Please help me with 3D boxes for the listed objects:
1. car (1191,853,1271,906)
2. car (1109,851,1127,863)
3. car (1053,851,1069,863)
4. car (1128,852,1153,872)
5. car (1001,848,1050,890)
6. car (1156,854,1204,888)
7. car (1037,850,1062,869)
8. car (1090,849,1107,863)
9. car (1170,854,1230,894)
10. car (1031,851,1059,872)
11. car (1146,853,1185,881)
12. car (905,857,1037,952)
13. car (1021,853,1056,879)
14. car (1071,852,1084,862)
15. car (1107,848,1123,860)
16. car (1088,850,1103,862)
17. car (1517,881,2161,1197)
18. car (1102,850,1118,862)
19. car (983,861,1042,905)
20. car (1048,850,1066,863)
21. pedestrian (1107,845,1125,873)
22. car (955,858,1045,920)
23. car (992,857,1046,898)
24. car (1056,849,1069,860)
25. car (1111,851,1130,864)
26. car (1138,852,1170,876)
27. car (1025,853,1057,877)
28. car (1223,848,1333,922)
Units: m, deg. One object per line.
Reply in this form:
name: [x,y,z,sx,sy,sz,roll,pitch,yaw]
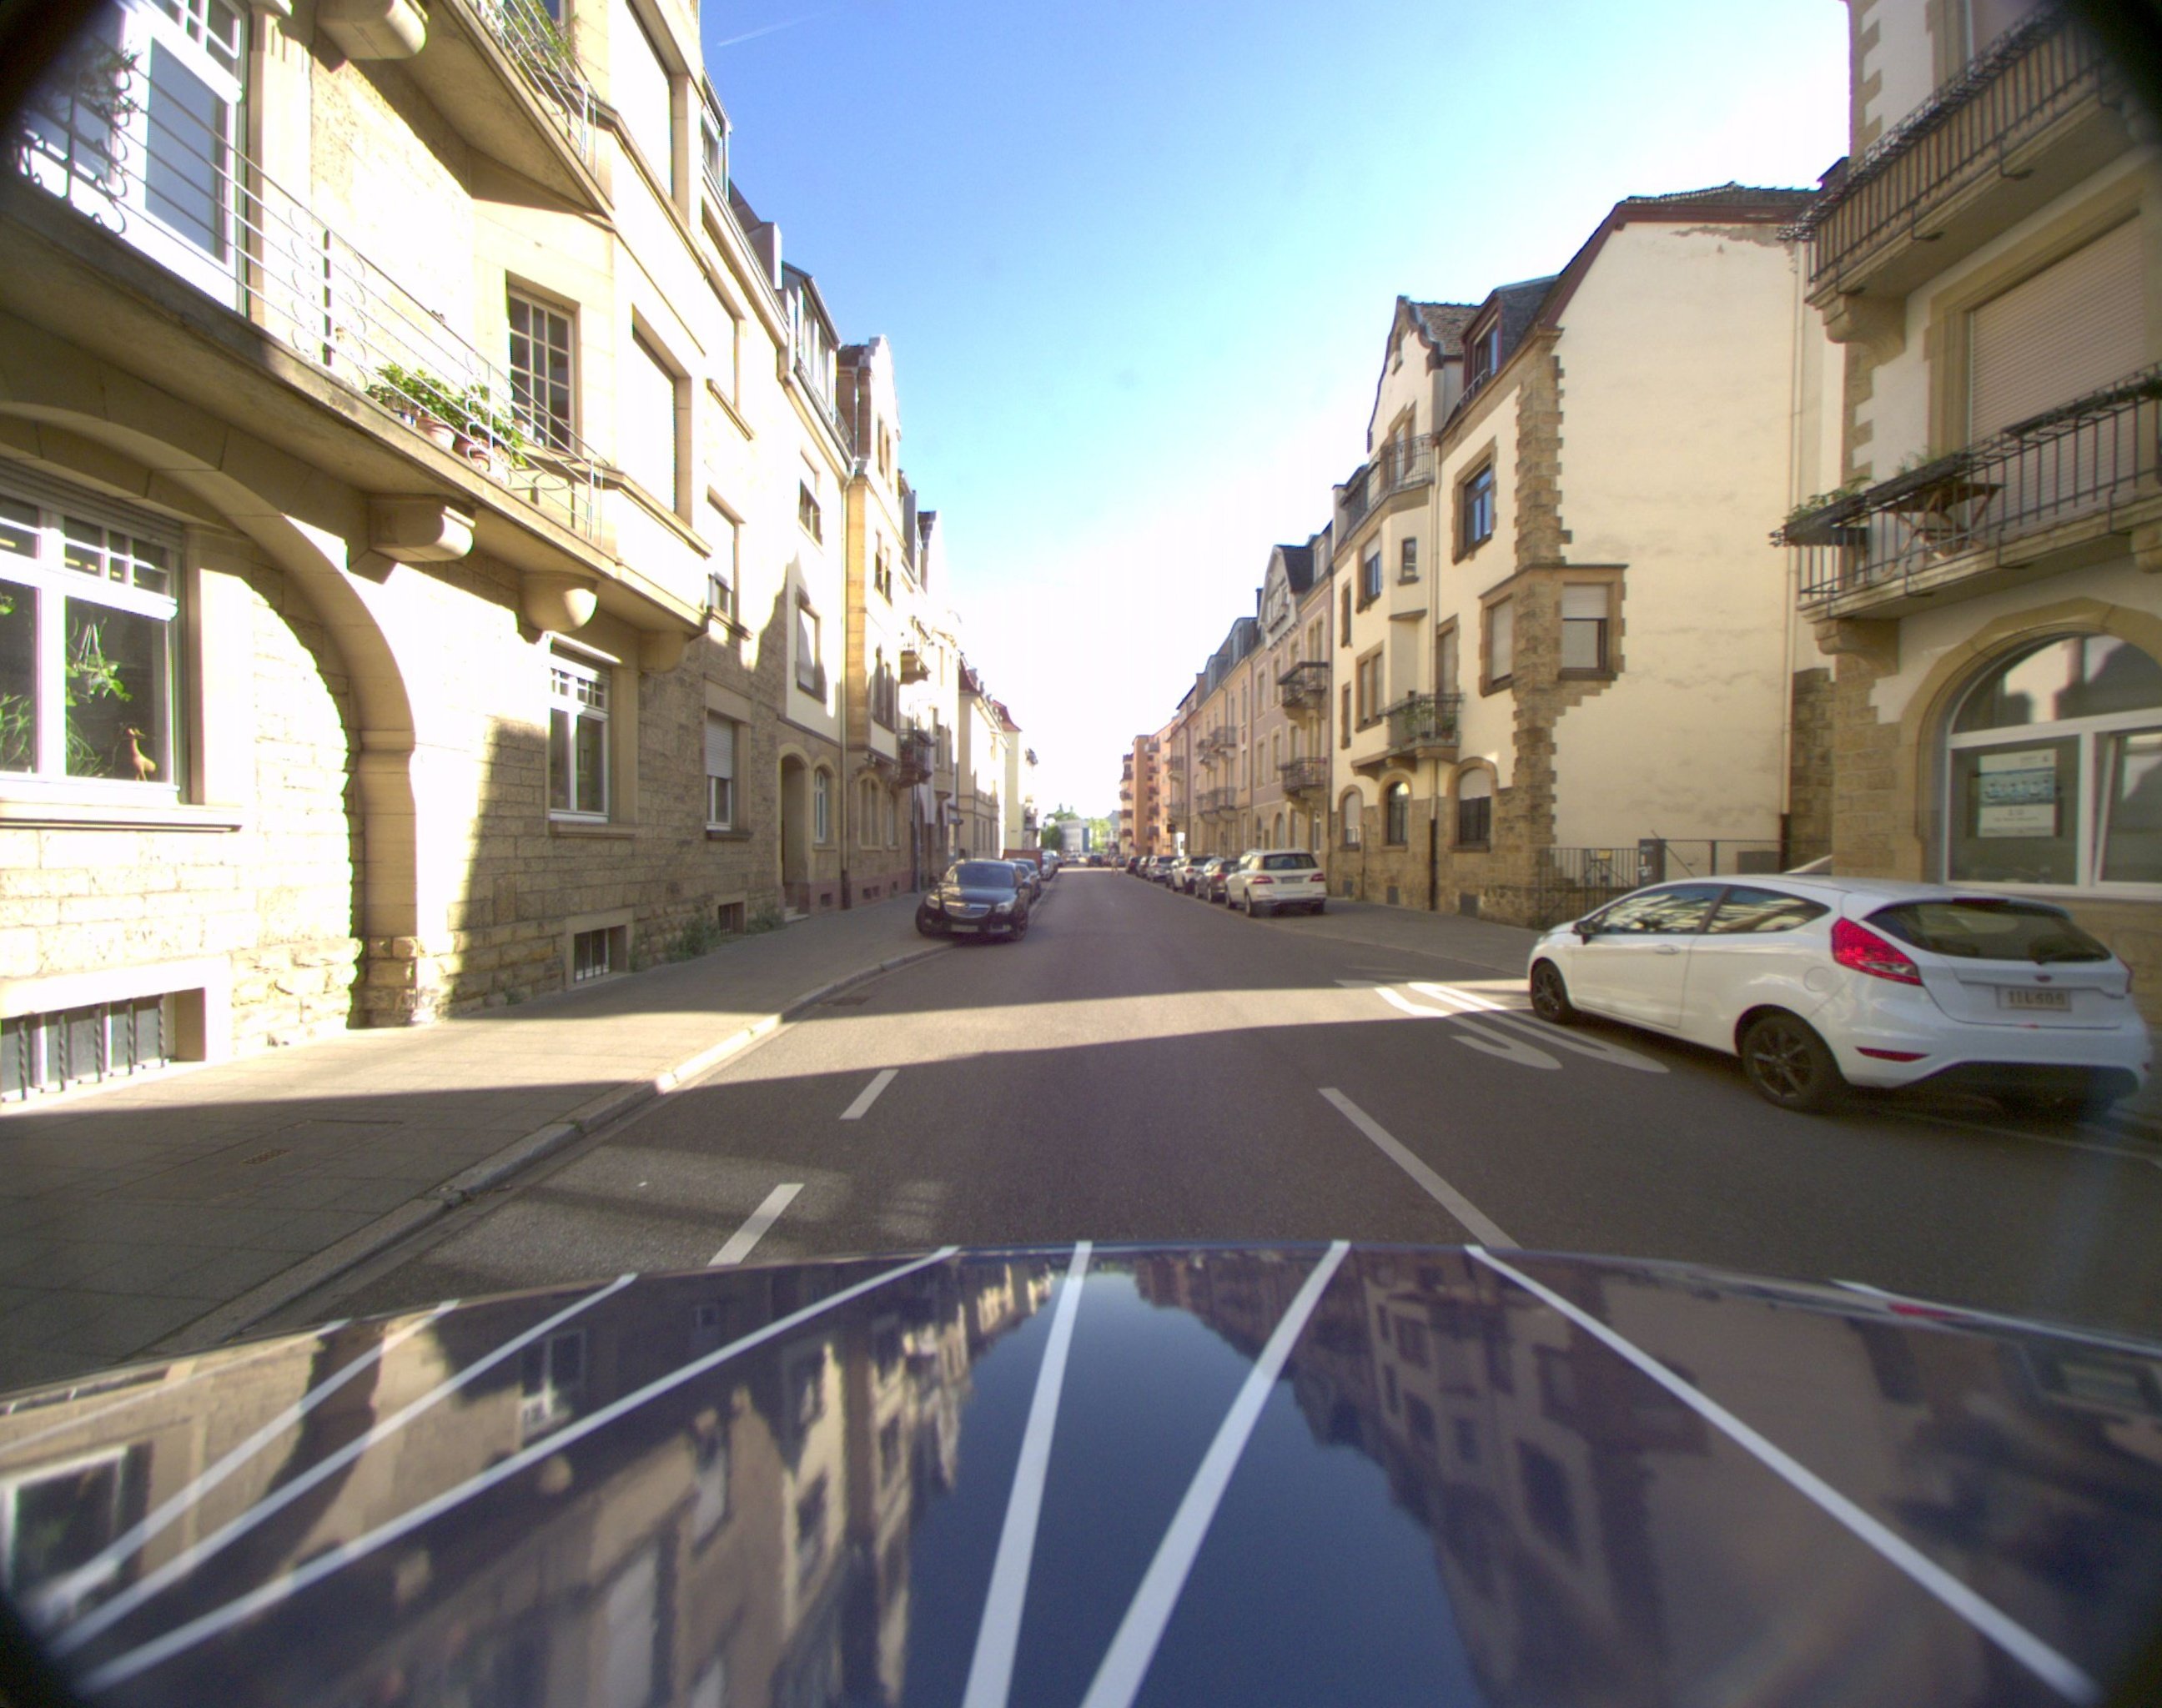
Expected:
car: [5.130,0.816,26.538,1.890,1.500,4.320,-4,1,1]
car: [4.637,0.379,96.199,2.005,1.500,4.320,1,1,-1]
car: [-2.568,0.418,99.946,2.005,1.500,4.320,1,1,-1]
car: [4.904,0.632,62.966,1.793,1.500,4.320,-2,1,1]
car: [-2.551,0.645,35.804,2.005,1.828,4.320,1,1,-1]
car: [4.864,0.811,37.799,1.857,1.491,4.318,-2,1,1]
car: [-2.661,0.443,64.493,2.005,1.500,4.320,1,1,-1]
car: [1.788,0.215,79.979,1.656,1.449,3.642,0,1,-1]
car: [4.992,0.790,32.359,1.890,1.500,4.320,-2,1,1]
car: [-2.734,0.528,58.660,2.005,1.500,4.320,1,1,-1]
car: [5.030,0.727,45.825,1.890,1.500,4.320,-2,1,1]
car: [-2.031,0.879,15.232,2.024,1.500,4.111,2,1,-1]
car: [-2.643,0.711,47.861,2.005,1.500,4.320,1,1,-1]
car: [-0.545,0.439,124.624,2.005,1.500,4.320,1,1,-1]
car: [4.533,-0.010,101.951,2.005,1.500,4.320,1,1,-1]
car: [1.864,0.219,98.780,1.702,1.474,3.533,1,0,-1]
car: [5.117,1.013,5.692,1.656,1.449,3.643,2,0,2]
car: [4.128,0.274,107.244,2.005,1.500,4.320,1,1,-1]
car: [-2.226,0.922,25.372,1.661,1.272,3.729,1,1,-1]
car: [-2.830,0.255,88.973,2.005,1.500,4.320,1,1,-1]
pedestrian: [2.590,0.362,56.429,1.066,2.002,0.952,-2,1,-7]
car: [-2.090,0.870,20.793,2.005,1.499,4.321,1,0,-1]
car: [-2.377,0.886,30.114,1.824,1.415,4.320,1,1,-1]
car: [-2.924,0.053,123.330,2.005,1.722,4.320,1,1,-1]
car: [4.687,0.396,91.385,2.005,1.500,4.320,1,1,-1]
car: [5.002,0.661,52.344,1.809,1.500,4.003,-2,1,1]
car: [-2.738,0.730,52.635,2.005,1.500,4.320,1,1,-1]
car: [5.202,0.748,20.677,1.890,1.717,4.211,-2,1,1]
